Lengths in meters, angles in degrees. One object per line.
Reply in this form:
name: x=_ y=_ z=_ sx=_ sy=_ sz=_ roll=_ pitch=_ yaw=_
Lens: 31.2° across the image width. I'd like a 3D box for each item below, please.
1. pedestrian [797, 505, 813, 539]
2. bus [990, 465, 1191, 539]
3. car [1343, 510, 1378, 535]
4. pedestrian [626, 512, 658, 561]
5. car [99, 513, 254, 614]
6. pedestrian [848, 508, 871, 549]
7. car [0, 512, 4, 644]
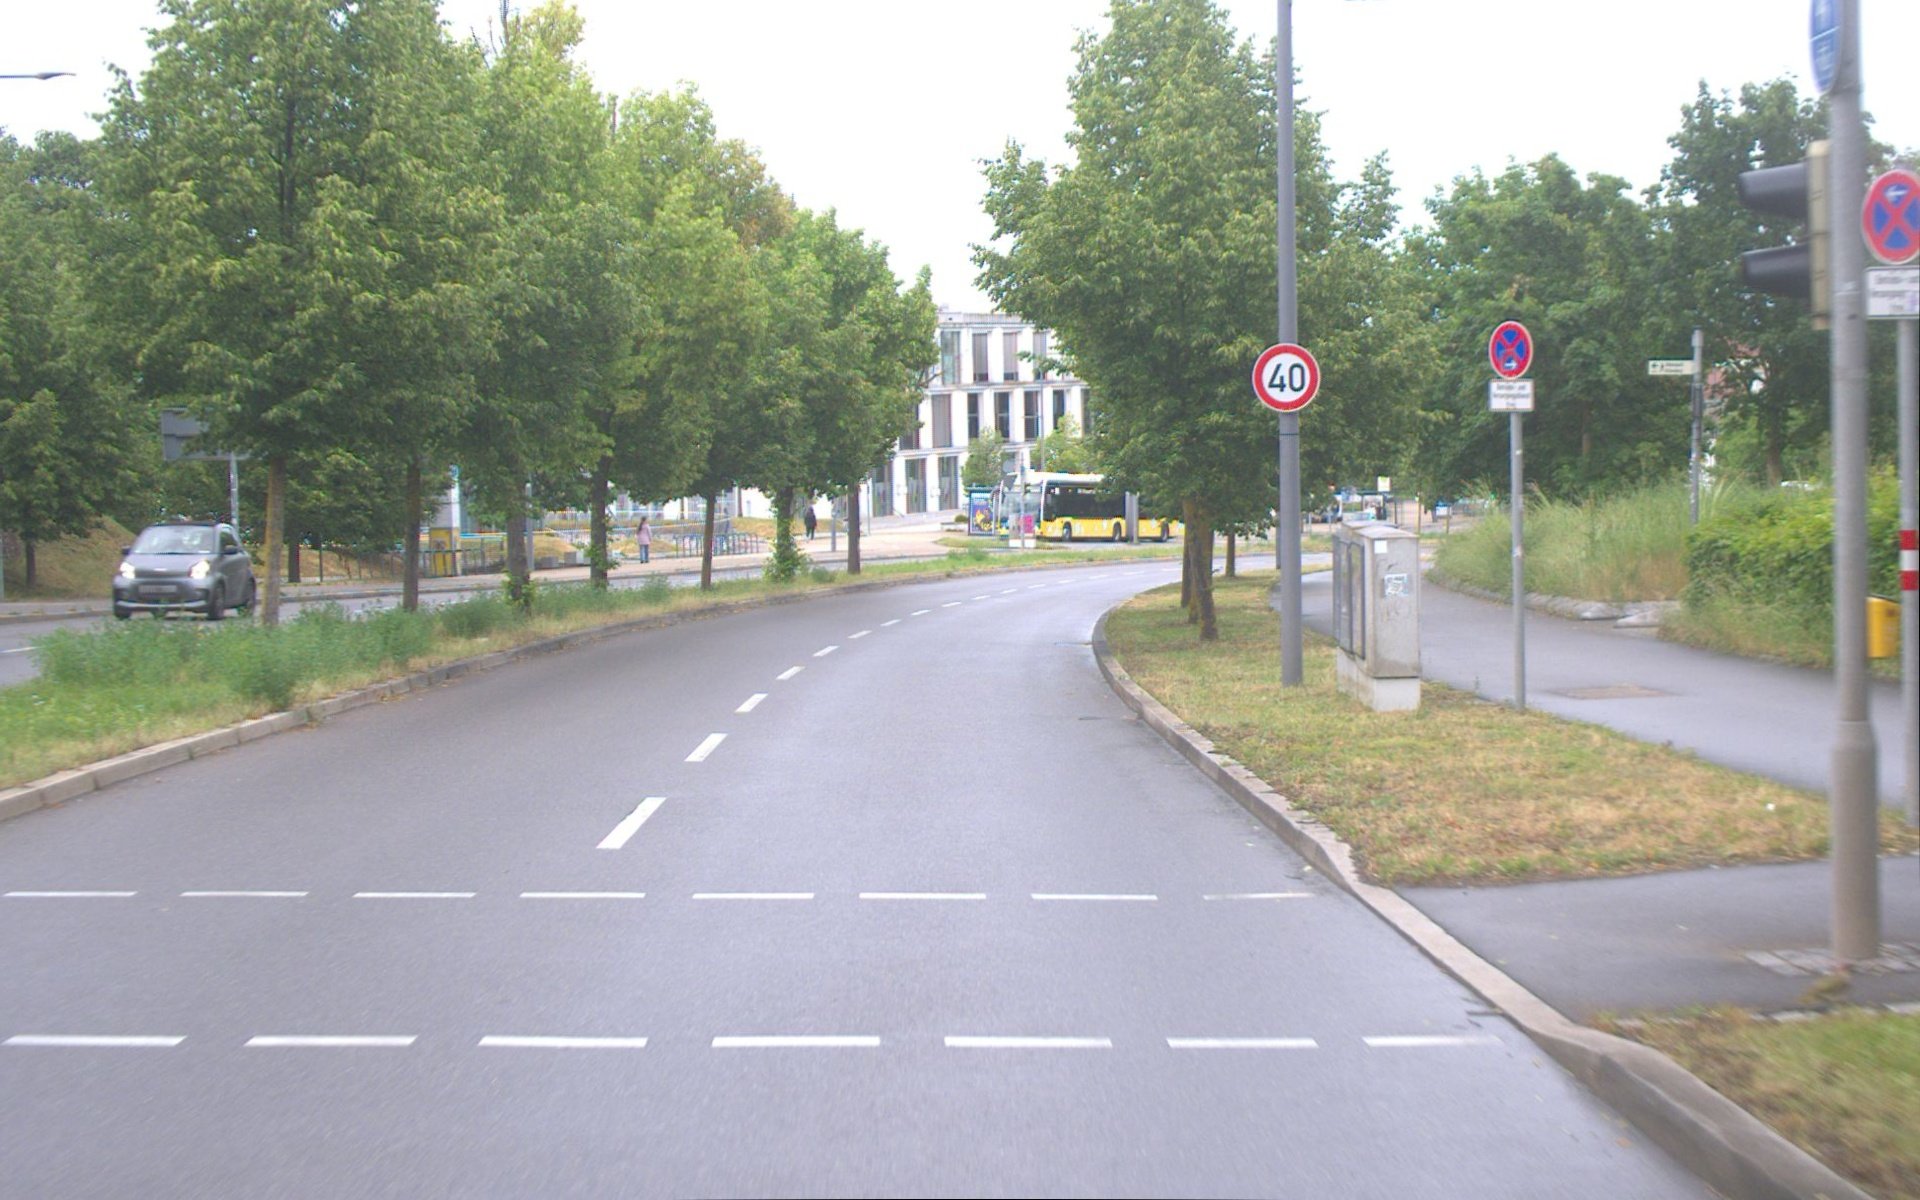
pedestrian: x=-6.992 y=-3.533 z=155.211 sx=0.682 sy=1.519 sz=0.719 roll=0 pitch=0 yaw=2
bus: x=6.855 y=-4.896 z=175.228 sx=2.789 sy=3.345 sz=18.199 roll=0 pitch=0 yaw=27
car: x=24.914 y=-4.799 z=213.850 sx=1.480 sy=1.489 sz=2.527 roll=0 pitch=0 yaw=25
pedestrian: x=-10.736 y=-2.144 z=116.129 sx=0.814 sy=1.615 sz=0.935 roll=0 pitch=0 yaw=13
car: x=-12.371 y=-0.602 z=54.420 sx=1.686 sy=1.534 sz=2.916 roll=0 pitch=2 yaw=2
pedestrian: x=-3.890 y=-2.764 z=133.317 sx=0.834 sy=1.568 sz=0.719 roll=0 pitch=0 yaw=-4
car: x=-12.566 y=-0.255 z=39.145 sx=1.881 sy=1.589 sz=4.766 roll=1 pitch=1 yaw=2
